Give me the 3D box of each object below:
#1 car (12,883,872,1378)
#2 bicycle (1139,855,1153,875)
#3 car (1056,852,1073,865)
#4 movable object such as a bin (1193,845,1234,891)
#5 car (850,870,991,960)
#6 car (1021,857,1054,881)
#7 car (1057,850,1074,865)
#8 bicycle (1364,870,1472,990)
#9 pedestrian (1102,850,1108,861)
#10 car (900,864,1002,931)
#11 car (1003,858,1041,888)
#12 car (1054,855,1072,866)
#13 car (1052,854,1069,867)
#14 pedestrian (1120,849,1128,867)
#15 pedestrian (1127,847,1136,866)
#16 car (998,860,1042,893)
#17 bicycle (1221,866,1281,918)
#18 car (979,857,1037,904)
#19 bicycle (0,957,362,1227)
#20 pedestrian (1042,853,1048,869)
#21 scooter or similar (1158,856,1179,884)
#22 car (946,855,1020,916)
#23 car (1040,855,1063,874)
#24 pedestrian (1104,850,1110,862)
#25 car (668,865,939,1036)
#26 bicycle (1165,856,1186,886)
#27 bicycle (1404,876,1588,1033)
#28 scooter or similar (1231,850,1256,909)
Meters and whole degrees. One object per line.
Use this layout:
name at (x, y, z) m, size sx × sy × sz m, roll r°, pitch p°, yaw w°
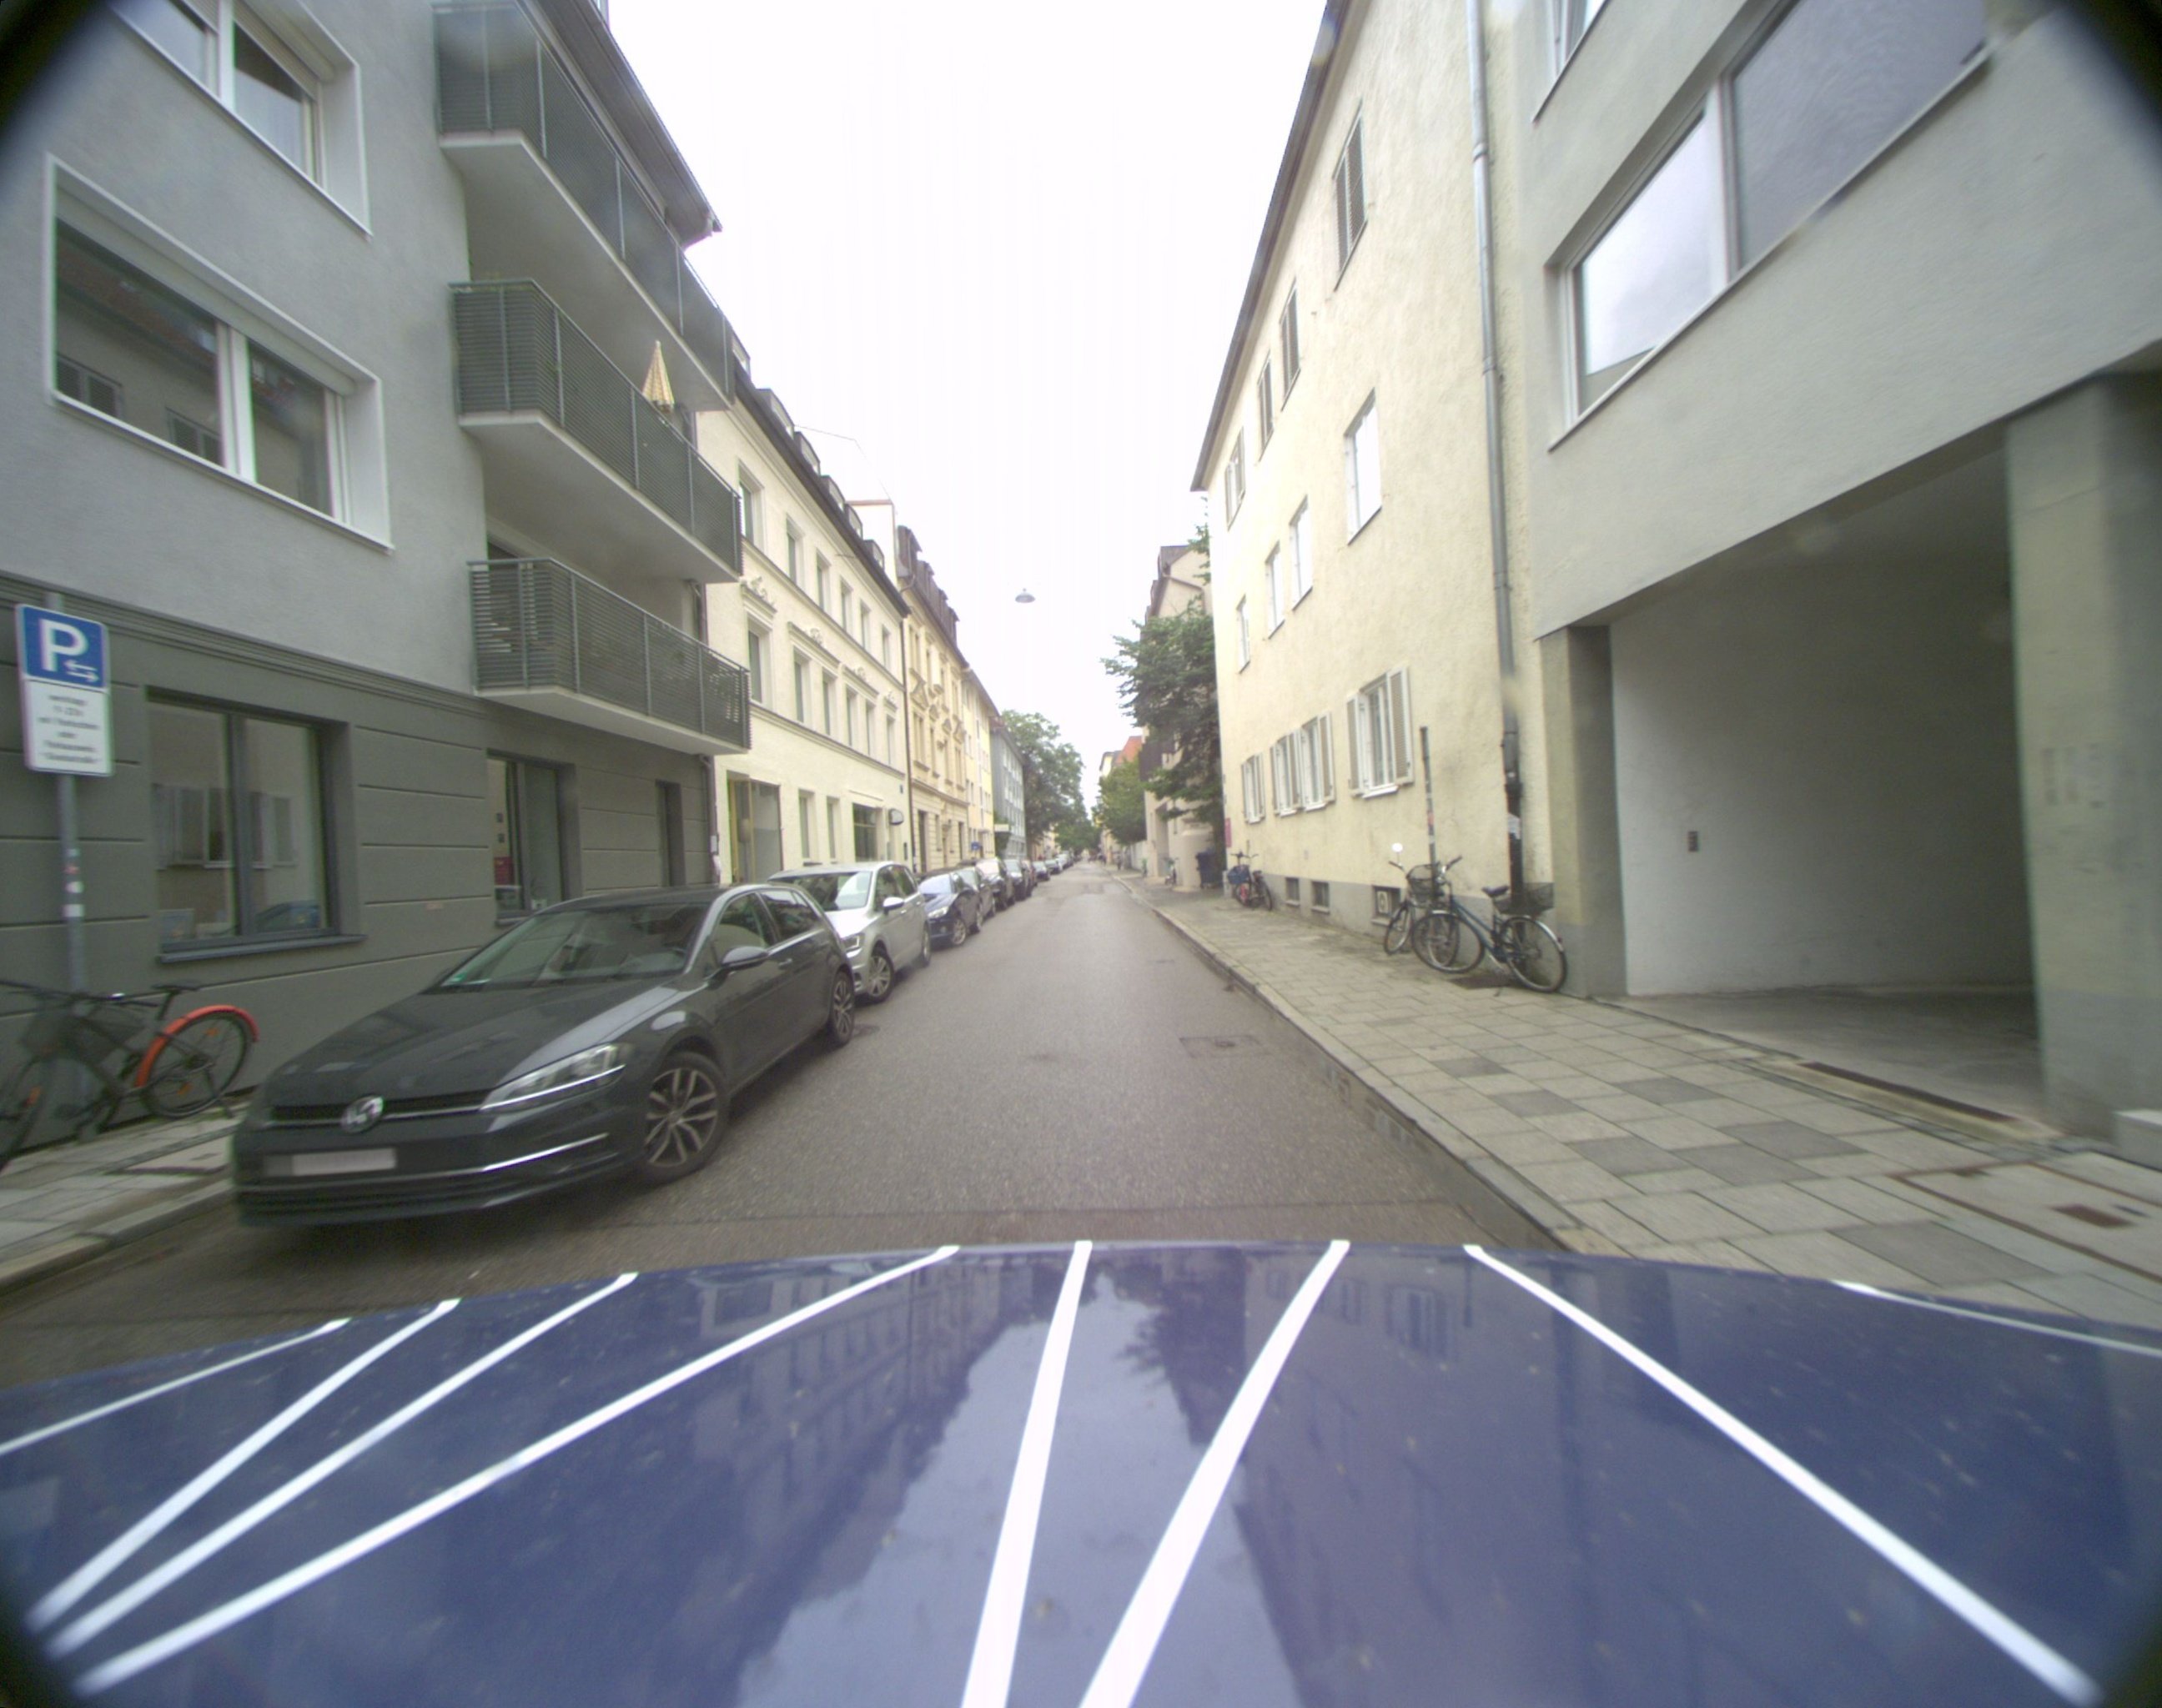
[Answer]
car at (-2.893, 1.084, 4.898) m, size 1.844 × 1.520 × 4.292 m, roll -3°, pitch 0°, yaw 0°
bicycle at (3.878, 0.654, 45.424) m, size 0.539 × 1.132 × 1.917 m, roll -4°, pitch 0°, yaw 0°
car at (-2.200, 0.632, 103.496) m, size 1.998 × 1.677 × 4.510 m, roll -2°, pitch 0°, yaw 1°
movable object such as a bin at (4.578, 0.476, 26.385) m, size 1.177 × 1.433 × 1.249 m, roll -8°, pitch -1°, yaw 7°
car at (-2.961, 1.082, 14.888) m, size 1.812 × 1.355 × 3.945 m, roll -2°, pitch 0°, yaw 1°
car at (-2.863, 0.950, 51.049) m, size 1.830 × 1.327 × 4.508 m, roll -6°, pitch 0°, yaw 0°
car at (-2.209, 0.473, 109.516) m, size 1.998 × 2.002 × 5.064 m, roll -2°, pitch 0°, yaw 3°
bicycle at (3.745, 0.795, 8.572) m, size 0.459 × 1.153 × 1.605 m, roll -5°, pitch 1°, yaw 2°
pedestrian at (3.906, 0.282, 124.536) m, size 0.920 × 1.742 × 1.066 m, roll -2°, pitch 1°, yaw 0°
car at (-3.178, 1.025, 19.428) m, size 1.804 × 1.377 × 4.348 m, roll -2°, pitch 0°, yaw 0°
car at (-3.152, 1.000, 41.457) m, size 1.680 × 1.484 × 3.853 m, roll -3°, pitch 0°, yaw 0°
car at (-2.291, 0.770, 98.183) m, size 1.998 × 1.306 × 4.593 m, roll -2°, pitch 0°, yaw 1°
car at (-2.514, 0.815, 93.099) m, size 1.860 × 1.366 × 4.509 m, roll -5°, pitch 0°, yaw -1°
pedestrian at (3.864, 0.355, 68.429) m, size 0.624 × 1.570 × 0.714 m, roll -4°, pitch 1°, yaw 0°
pedestrian at (4.514, 0.210, 68.460) m, size 0.615 × 1.612 × 0.687 m, roll -5°, pitch 1°, yaw 1°
car at (-2.842, 1.033, 36.285) m, size 1.680 × 1.385 × 4.065 m, roll -3°, pitch 0°, yaw 0°
bicycle at (3.696, 0.803, 16.716) m, size 0.705 × 0.978 × 1.822 m, roll -7°, pitch 1°, yaw -3°
car at (-2.814, 0.970, 30.168) m, size 1.706 × 1.597 × 4.684 m, roll -3°, pitch 0°, yaw 1°
bicycle at (-5.628, 1.314, 4.592) m, size 0.570 × 1.085 × 1.996 m, roll -2°, pitch 0°, yaw 2°
pedestrian at (-4.363, 0.817, 92.182) m, size 0.581 × 1.966 × 0.455 m, roll -3°, pitch 1°, yaw 0°
scooter or similar at (3.911, 0.685, 33.846) m, size 0.553 × 1.137 × 1.359 m, roll -5°, pitch 1°, yaw 17°
car at (-3.034, 0.920, 24.372) m, size 1.680 × 1.651 × 4.512 m, roll -3°, pitch 0°, yaw 0°
car at (-2.610, 0.913, 68.437) m, size 1.846 × 1.420 × 4.263 m, roll -6°, pitch 0°, yaw -1°
pedestrian at (3.604, 0.280, 105.269) m, size 0.766 × 1.742 × 0.970 m, roll -2°, pitch 1°, yaw 0°
car at (-3.148, 0.986, 9.680) m, size 1.880 × 1.561 × 4.315 m, roll -1°, pitch 0°, yaw -1°
bicycle at (3.934, 0.692, 31.780) m, size 0.545 × 1.154 × 1.882 m, roll -4°, pitch 0°, yaw -1°
bicycle at (3.647, 0.818, 6.857) m, size 0.563 × 1.153 × 1.720 m, roll -3°, pitch 1°, yaw -5°
scooter or similar at (3.938, 0.591, 18.442) m, size 0.318 × 1.368 × 1.239 m, roll -2°, pitch 1°, yaw 1°
